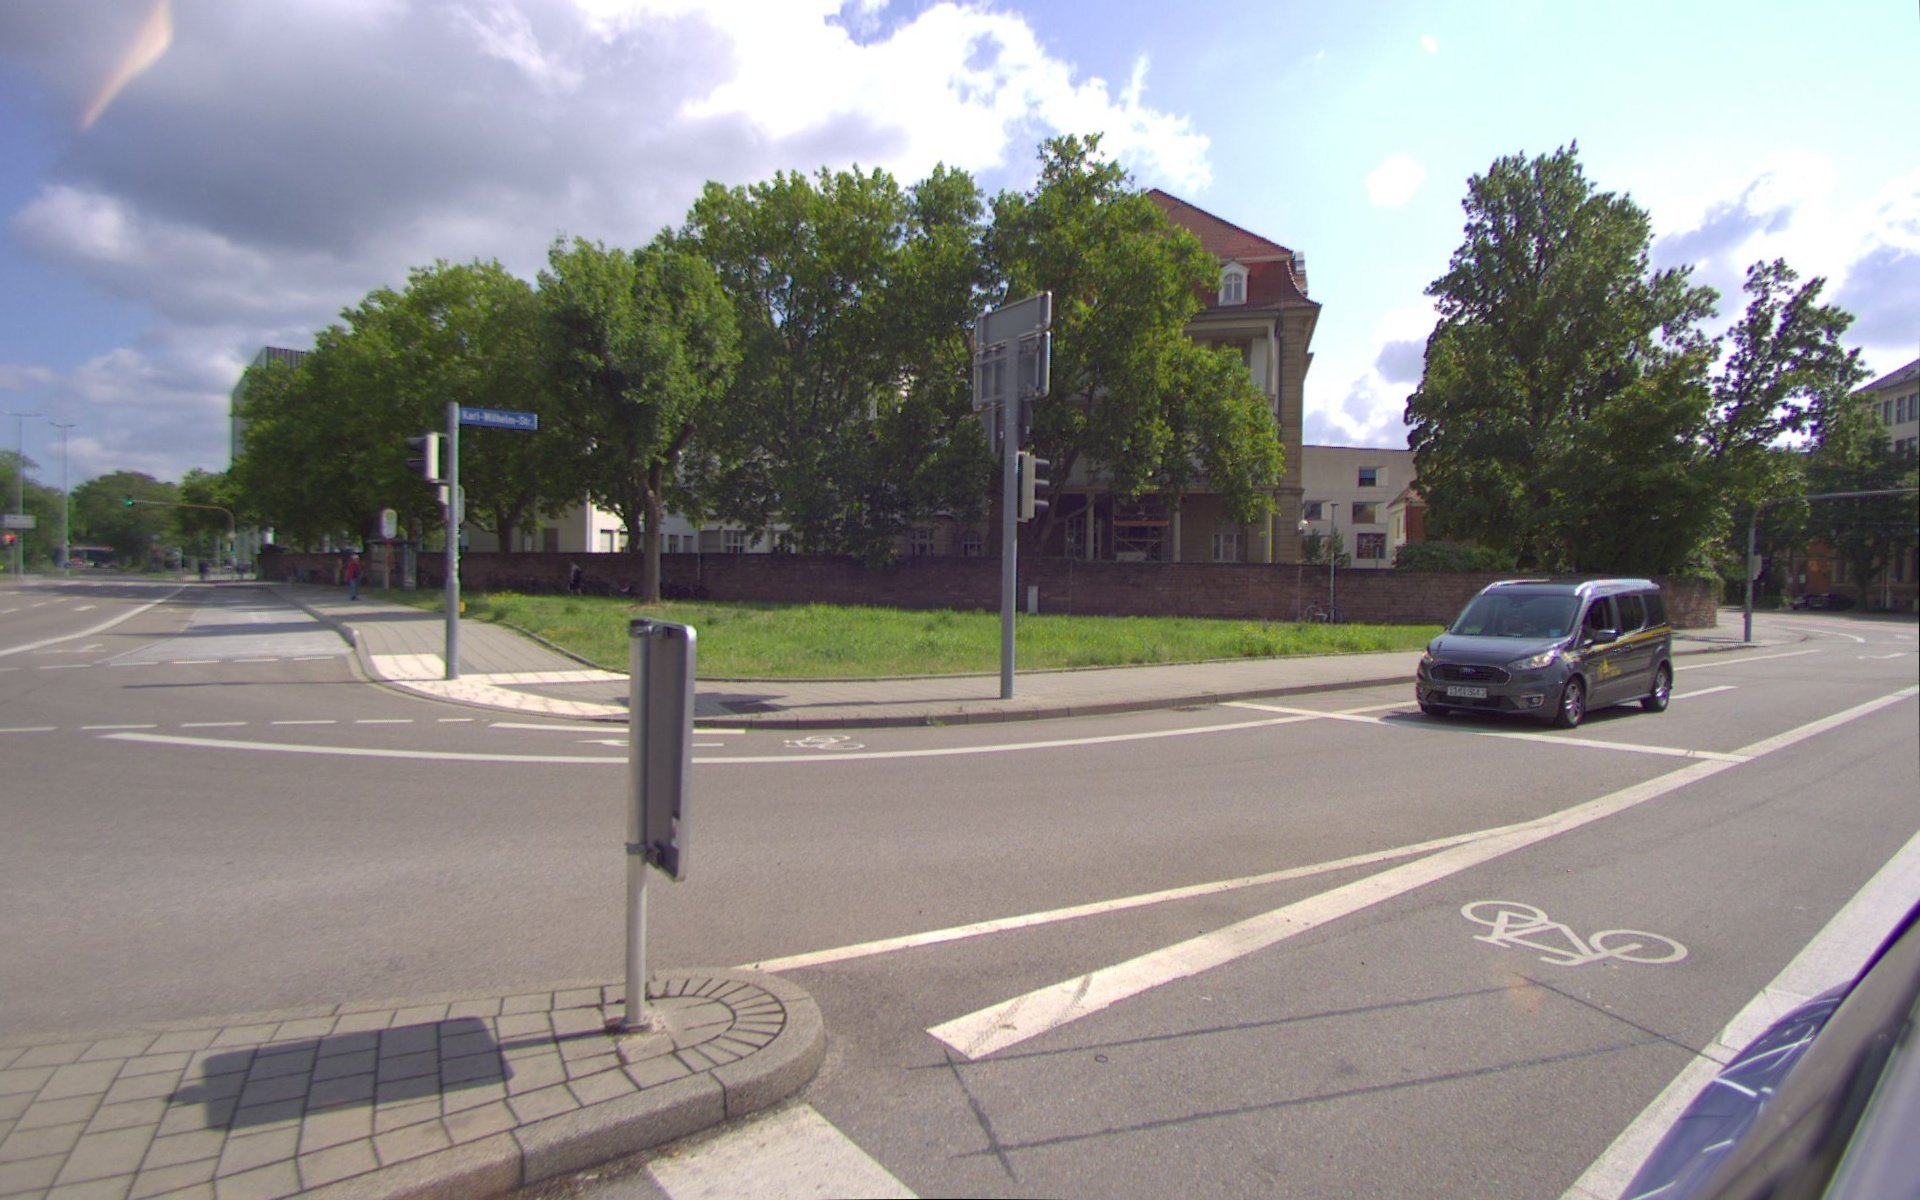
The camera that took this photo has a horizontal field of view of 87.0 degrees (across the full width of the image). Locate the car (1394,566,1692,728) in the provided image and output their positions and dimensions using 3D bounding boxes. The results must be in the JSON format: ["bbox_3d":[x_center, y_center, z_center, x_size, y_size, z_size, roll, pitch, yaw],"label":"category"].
[{"bbox_3d":[7.830,0.511,13.417,4.586,1.808,1.853,0,0,-38],"label":"car"}]

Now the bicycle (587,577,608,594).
[{"bbox_3d":[-18.378,-0.752,51.330,0.478,0.859,0.964,2,1,28],"label":"bicycle"}]

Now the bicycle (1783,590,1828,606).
[{"bbox_3d":[75.638,-0.181,90.573,1.052,1.221,2.898,-3,4,-32],"label":"bicycle"}]

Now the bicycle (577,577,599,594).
[{"bbox_3d":[-18.970,-0.746,51.649,0.478,0.859,0.964,2,1,28],"label":"bicycle"}]

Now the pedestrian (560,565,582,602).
[{"bbox_3d":[-18.890,-0.800,49.184,0.737,1.744,0.656,2,1,32],"label":"pedestrian"}]

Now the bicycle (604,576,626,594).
[{"bbox_3d":[-17.259,-0.761,50.685,0.478,0.859,0.964,2,1,28],"label":"bicycle"}]

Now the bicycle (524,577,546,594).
[{"bbox_3d":[-22.534,-0.784,53.661,0.478,0.859,0.964,2,1,28],"label":"bicycle"}]

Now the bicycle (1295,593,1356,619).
[{"bbox_3d":[14.100,0.223,39.080,2.024,0.871,0.858,1,3,5],"label":"bicycle"}]

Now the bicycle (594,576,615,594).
[{"bbox_3d":[-17.917,-0.756,51.005,0.478,0.859,0.964,2,1,28],"label":"bicycle"}]

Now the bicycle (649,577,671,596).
[{"bbox_3d":[-14.534,-0.653,49.049,0.478,0.859,0.964,2,1,28],"label":"bicycle"}]

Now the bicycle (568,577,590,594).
[{"bbox_3d":[-19.541,-0.740,51.953,0.478,0.859,0.964,2,1,28],"label":"bicycle"}]

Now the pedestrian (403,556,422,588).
[{"bbox_3d":[-31.320,-1.619,57.900,0.871,1.802,0.770,0,2,-39],"label":"pedestrian"}]

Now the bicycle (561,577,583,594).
[{"bbox_3d":[-20.029,-0.737,52.207,0.478,0.859,0.964,2,1,28],"label":"bicycle"}]

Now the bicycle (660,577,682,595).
[{"bbox_3d":[-13.910,-0.679,48.782,0.478,0.859,0.964,2,1,28],"label":"bicycle"}]

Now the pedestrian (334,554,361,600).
[{"bbox_3d":[-24.310,-0.937,40.163,0.737,1.802,0.963,-1,2,-44],"label":"pedestrian"}]

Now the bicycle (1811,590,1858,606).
[{"bbox_3d":[75.486,-0.168,87.378,1.030,1.221,2.898,-3,4,-32],"label":"bicycle"}]

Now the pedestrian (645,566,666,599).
[{"bbox_3d":[-14.527,-0.822,48.291,0.716,1.552,0.720,1,2,24],"label":"pedestrian"}]
